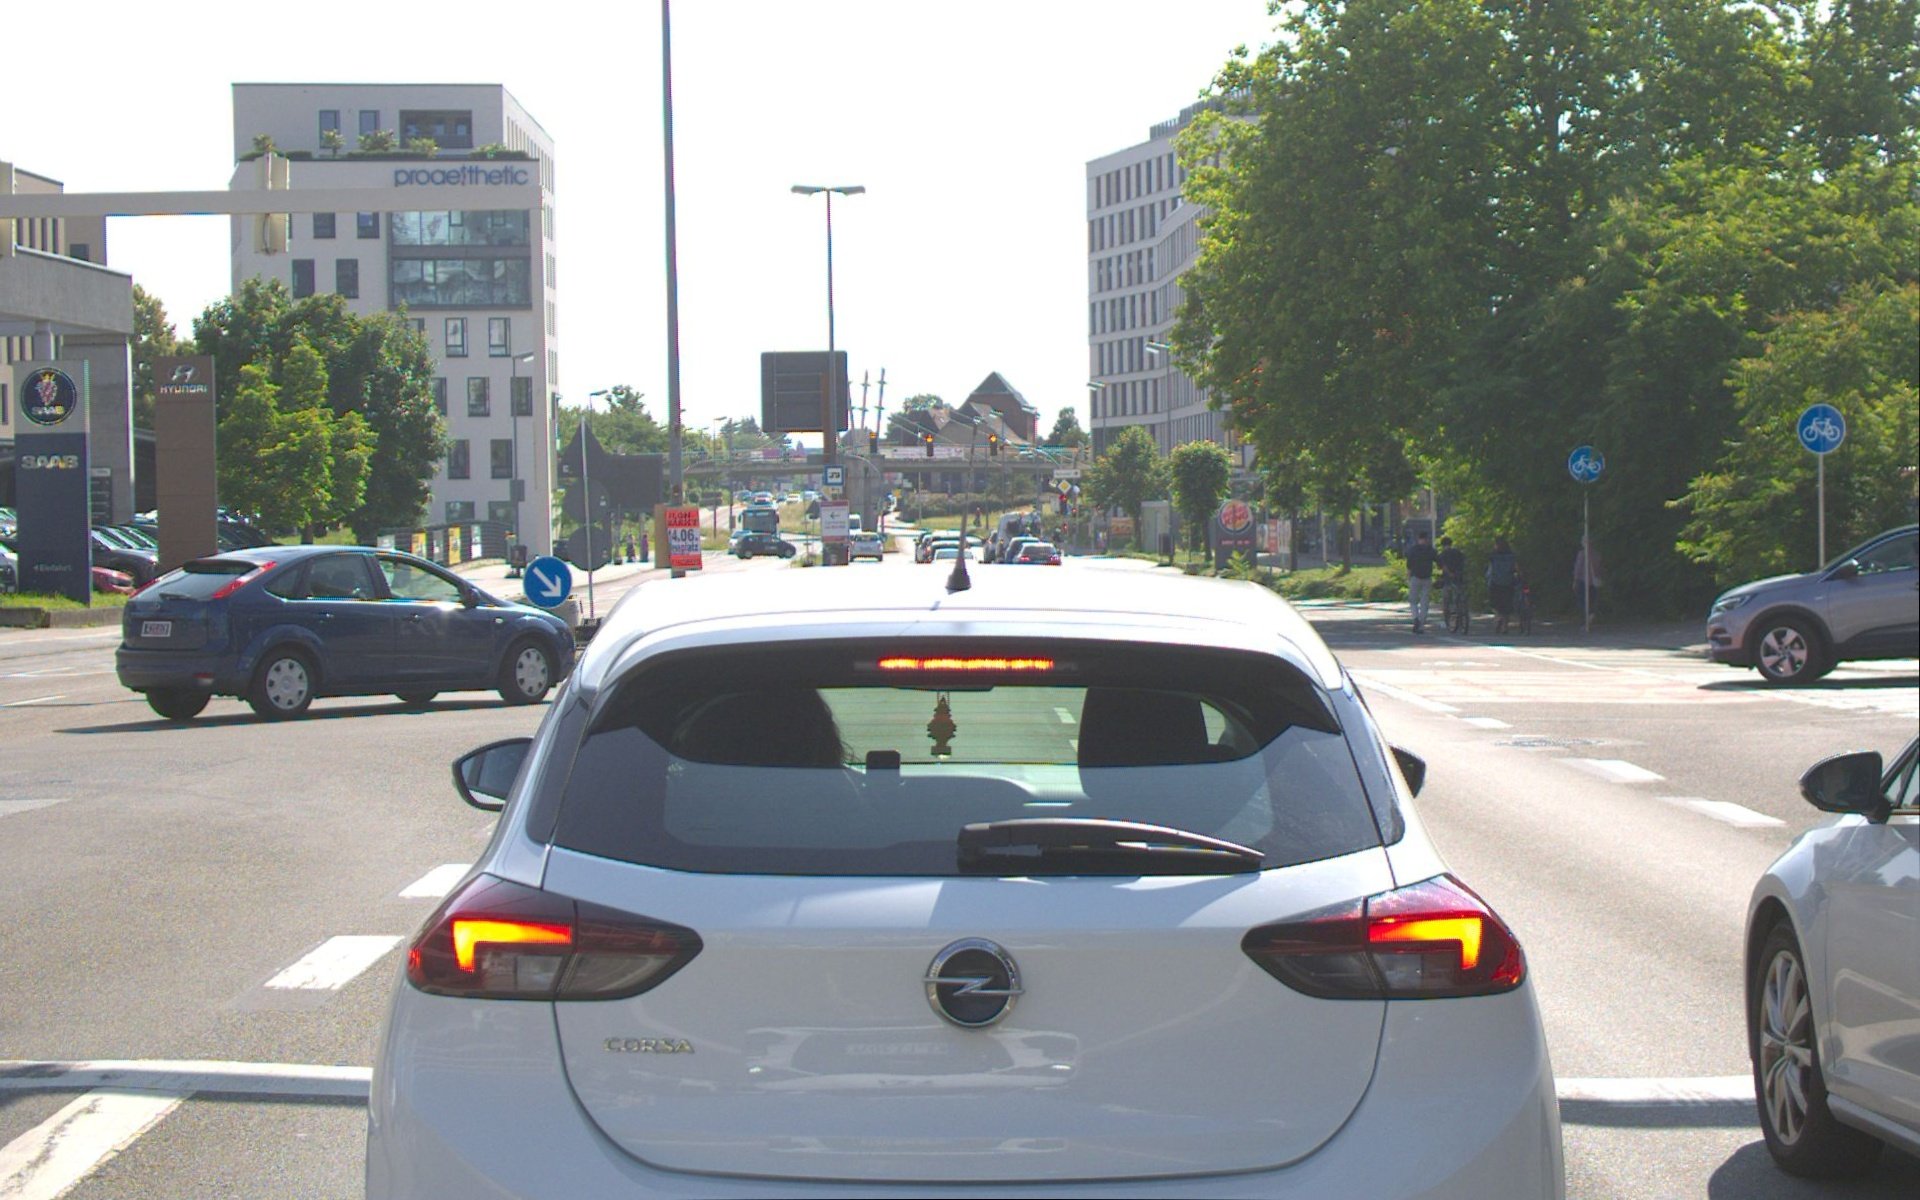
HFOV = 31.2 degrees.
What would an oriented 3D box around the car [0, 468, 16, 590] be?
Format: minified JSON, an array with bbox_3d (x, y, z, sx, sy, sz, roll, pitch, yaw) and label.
[{"bbox_3d":[-22.559,-1.479,73.032,4.357,2.592,2.000,-1,1,5],"label":"car"}]

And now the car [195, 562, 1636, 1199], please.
[{"bbox_3d":[-0.077,0.698,6.271,1.779,1.489,4.000,-1,1,-1],"label":"car"}]

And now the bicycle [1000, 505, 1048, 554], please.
[{"bbox_3d":[2.888,-3.182,155.517,1.993,2.150,4.000,-1,1,-1],"label":"bicycle"}]

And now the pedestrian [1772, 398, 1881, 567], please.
[{"bbox_3d":[10.458,-1.412,41.523,1.027,2.007,1.039,-1,1,-1],"label":"pedestrian"}]

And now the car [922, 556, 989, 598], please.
[{"bbox_3d":[-0.170,-0.769,113.081,1.993,1.327,4.000,1,0,-3],"label":"car"}]

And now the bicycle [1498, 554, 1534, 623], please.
[{"bbox_3d":[9.324,-0.194,57.684,0.373,1.143,1.034,1,0,-3],"label":"bicycle"}]

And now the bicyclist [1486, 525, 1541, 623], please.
[{"bbox_3d":[9.292,-0.442,57.709,0.688,1.637,0.777,-1,1,-9],"label":"bicyclist"}]

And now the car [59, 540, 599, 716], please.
[{"bbox_3d":[-5.534,0.204,30.503,1.999,1.442,4.359,1,1,45],"label":"car"}]

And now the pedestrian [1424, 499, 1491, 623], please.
[{"bbox_3d":[9.034,-0.709,62.436,1.027,2.231,1.039,-1,1,-1],"label":"pedestrian"}]

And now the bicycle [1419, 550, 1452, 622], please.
[{"bbox_3d":[8.111,-0.249,58.609,0.372,1.212,1.154,1,1,-1],"label":"bicycle"}]

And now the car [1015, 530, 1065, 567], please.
[{"bbox_3d":[3.136,-2.029,135.258,1.806,1.381,4.000,1,0,-1],"label":"car"}]

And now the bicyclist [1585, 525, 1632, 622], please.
[{"bbox_3d":[11.028,-0.457,58.483,0.652,1.631,0.659,1,0,1],"label":"bicyclist"}]

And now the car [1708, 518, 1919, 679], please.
[{"bbox_3d":[10.154,-0.081,35.587,4.423,1.546,1.998,-3,0,20],"label":"car"}]

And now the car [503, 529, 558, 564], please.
[{"bbox_3d":[-17.724,-2.206,142.137,1.806,1.381,4.000,1,0,-1],"label":"car"}]

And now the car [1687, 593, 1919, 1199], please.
[{"bbox_3d":[2.851,0.709,6.870,1.807,1.424,4.000,-1,1,-2],"label":"car"}]

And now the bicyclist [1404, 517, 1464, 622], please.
[{"bbox_3d":[8.082,-0.527,58.603,0.879,1.766,0.864,-1,1,0],"label":"bicyclist"}]
